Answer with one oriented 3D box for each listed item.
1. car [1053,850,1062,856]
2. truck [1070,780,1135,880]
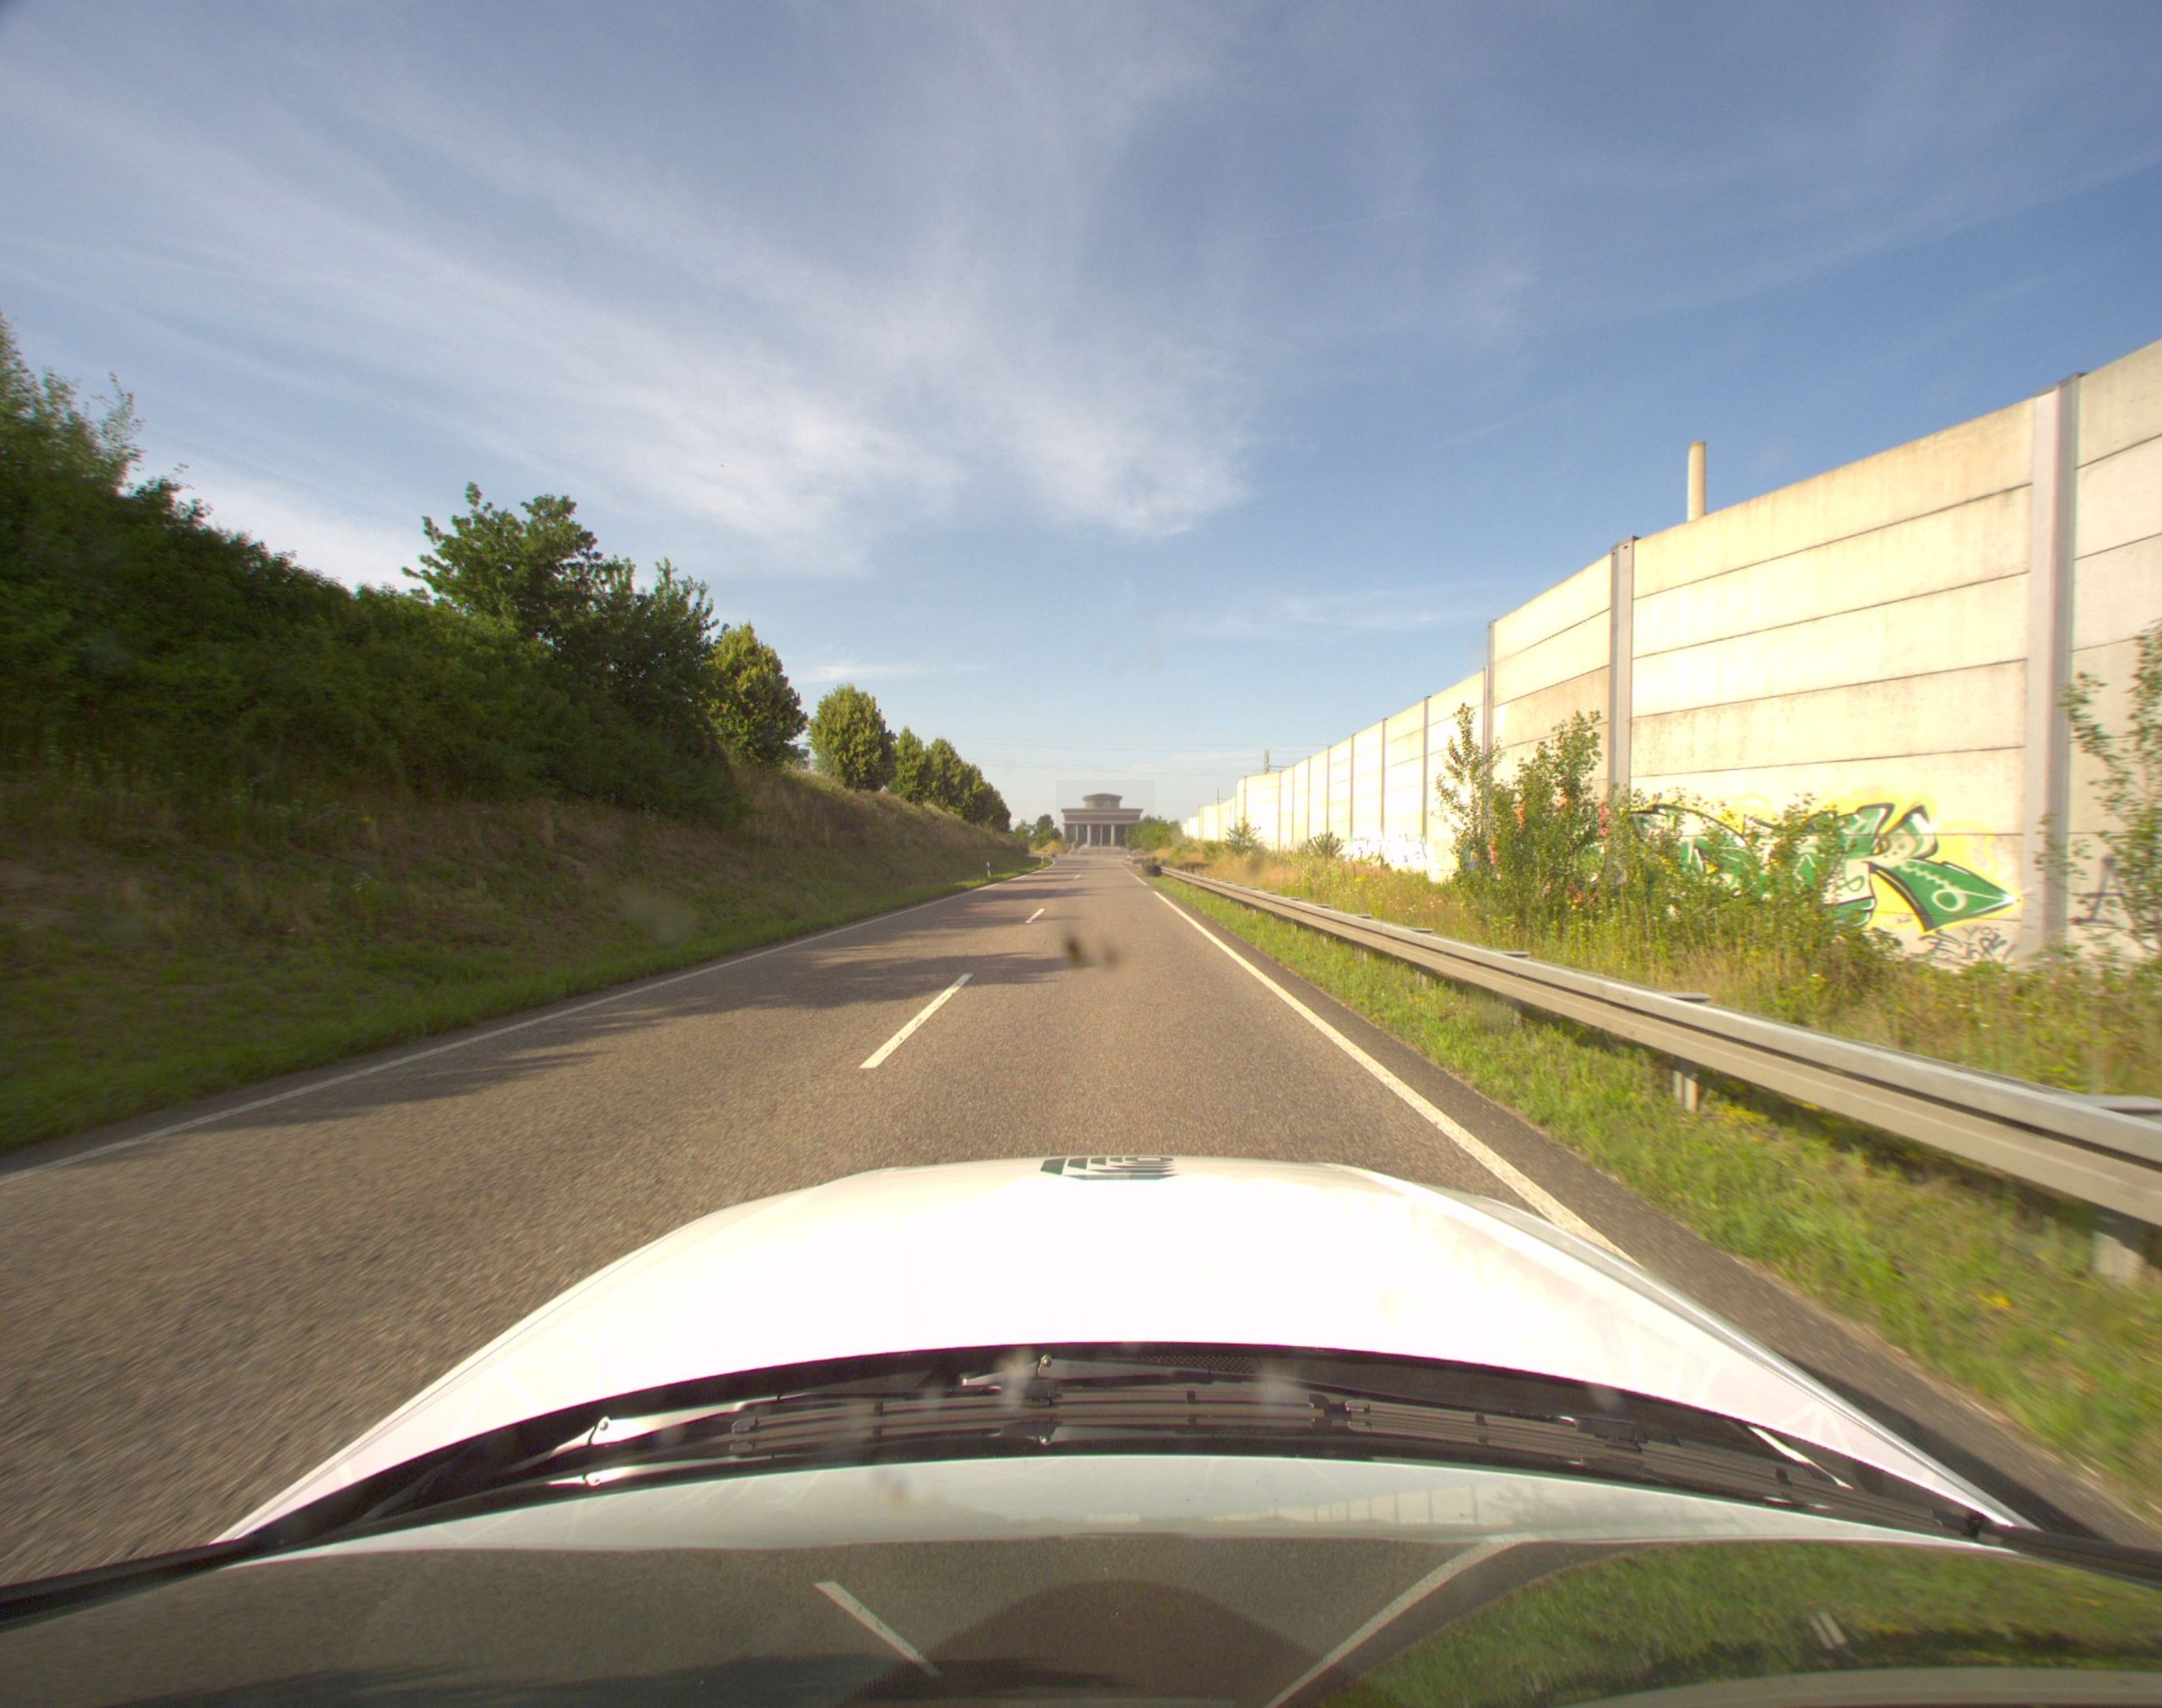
[{"bbox_3d":[-5.970,-0.226,207.581,2.038,1.581,4.362,0,0,2],"label":"car"},{"bbox_3d":[1.119,-1.312,47.855,3.280,5.089,12.037,-1,1,0],"label":"truck"}]
